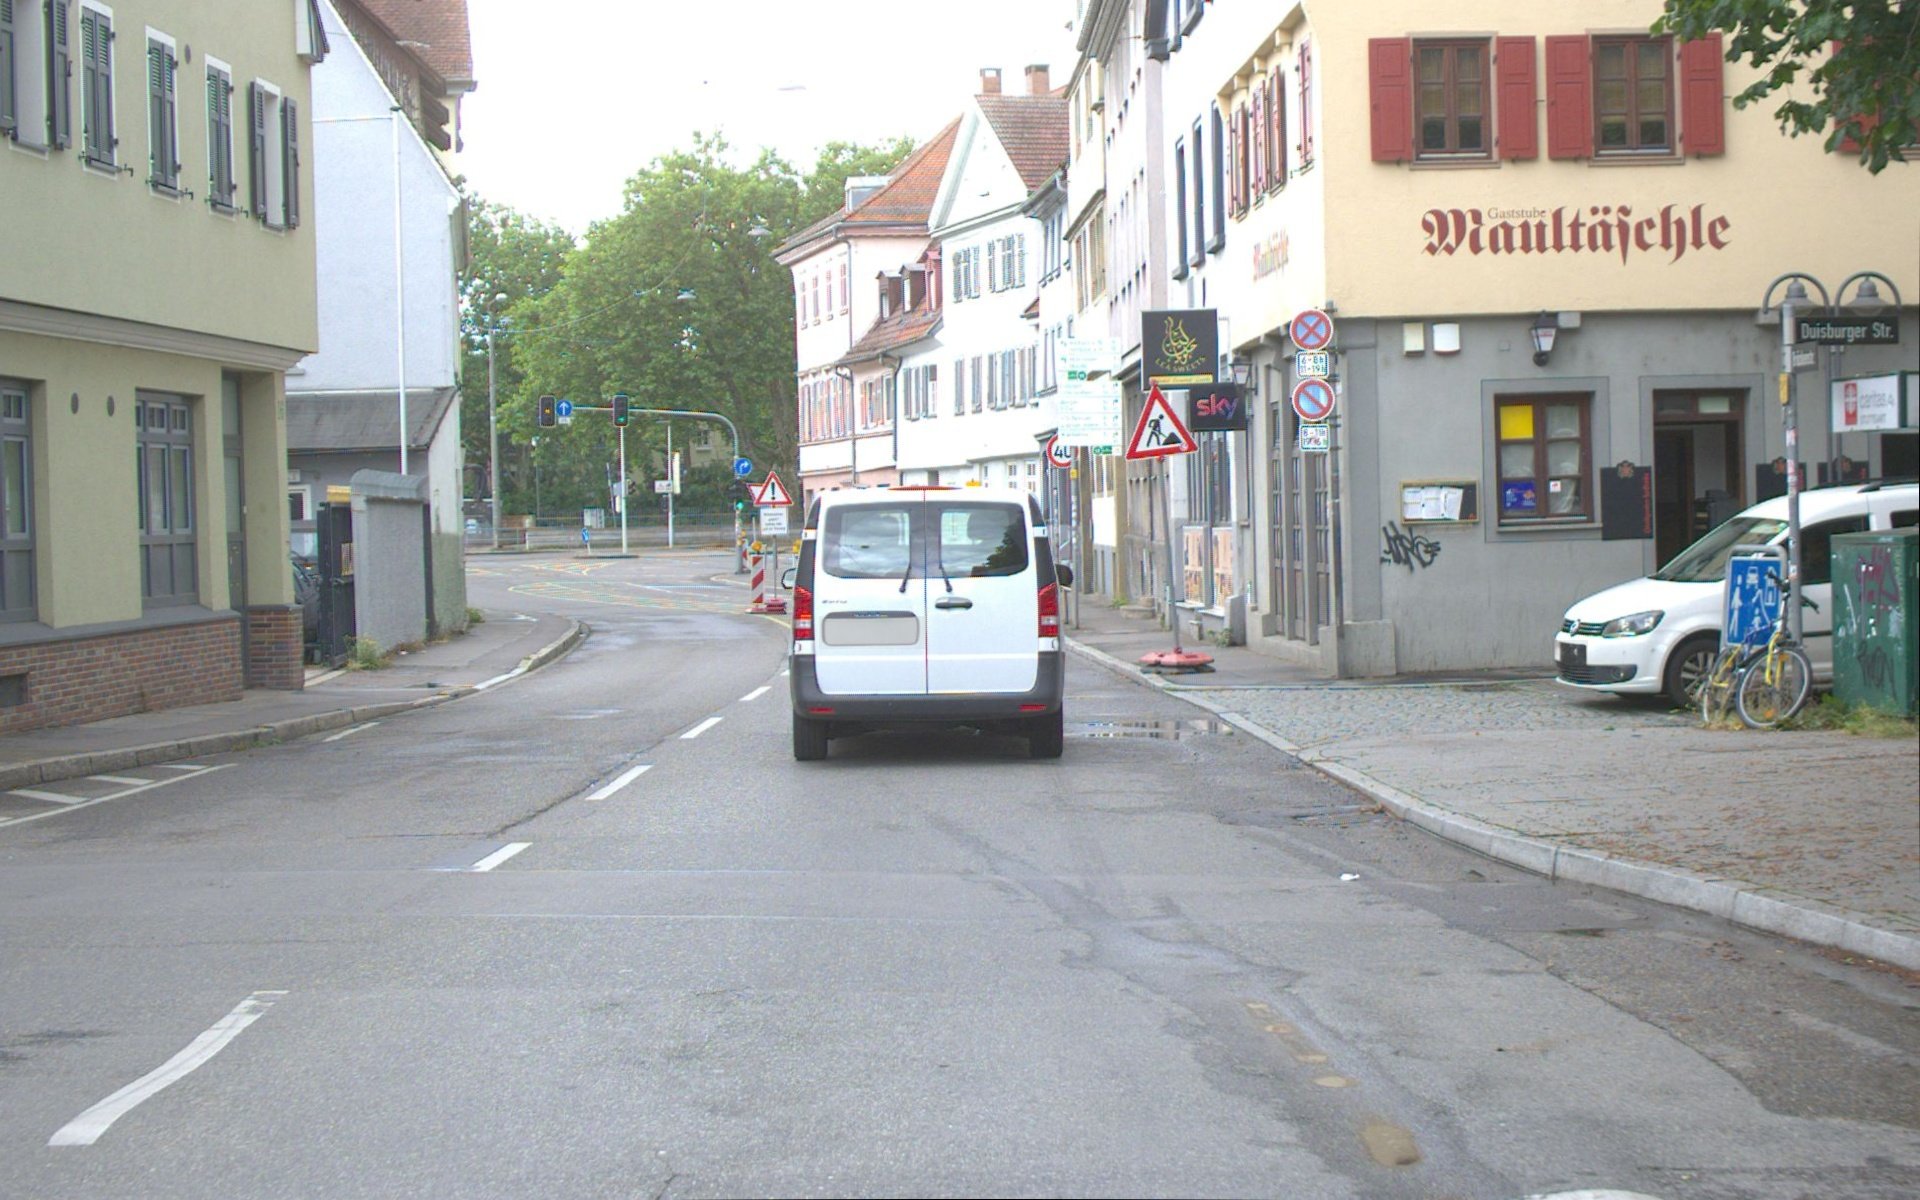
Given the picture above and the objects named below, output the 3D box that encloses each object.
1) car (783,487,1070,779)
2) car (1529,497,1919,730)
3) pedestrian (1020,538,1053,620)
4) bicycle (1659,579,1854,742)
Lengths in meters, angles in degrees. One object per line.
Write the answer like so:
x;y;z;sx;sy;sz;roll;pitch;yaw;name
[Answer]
-0.199;0.185;24.793;1.872;1.905;4.000;-1;1;1;car
7.143;0.066;29.031;4.241;1.791;1.849;-1;3;-8;car
1.618;-0.447;72.809;0.643;1.741;0.562;0;0;-4;pedestrian
5.649;0.417;24.462;0.499;1.102;1.638;-2;1;-20;bicycle
